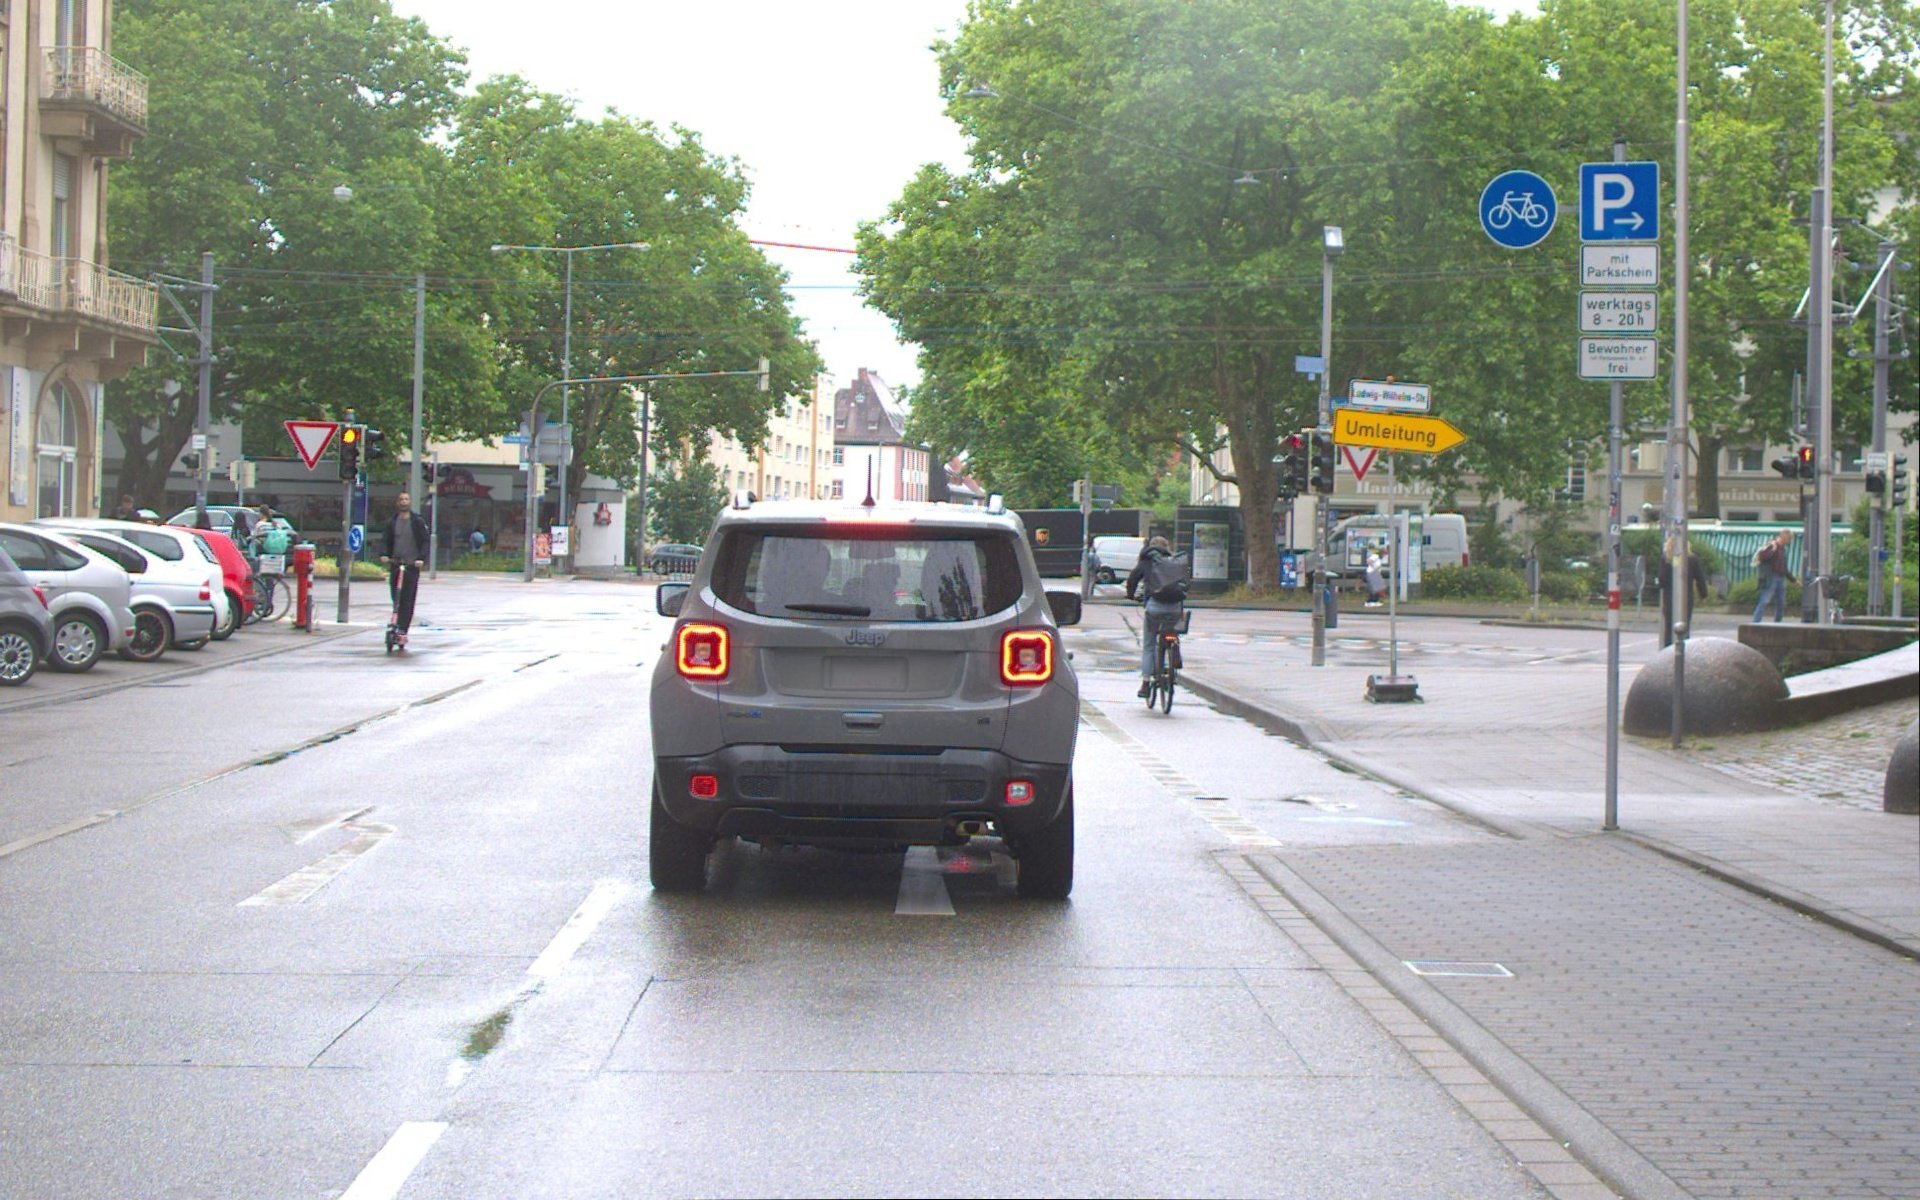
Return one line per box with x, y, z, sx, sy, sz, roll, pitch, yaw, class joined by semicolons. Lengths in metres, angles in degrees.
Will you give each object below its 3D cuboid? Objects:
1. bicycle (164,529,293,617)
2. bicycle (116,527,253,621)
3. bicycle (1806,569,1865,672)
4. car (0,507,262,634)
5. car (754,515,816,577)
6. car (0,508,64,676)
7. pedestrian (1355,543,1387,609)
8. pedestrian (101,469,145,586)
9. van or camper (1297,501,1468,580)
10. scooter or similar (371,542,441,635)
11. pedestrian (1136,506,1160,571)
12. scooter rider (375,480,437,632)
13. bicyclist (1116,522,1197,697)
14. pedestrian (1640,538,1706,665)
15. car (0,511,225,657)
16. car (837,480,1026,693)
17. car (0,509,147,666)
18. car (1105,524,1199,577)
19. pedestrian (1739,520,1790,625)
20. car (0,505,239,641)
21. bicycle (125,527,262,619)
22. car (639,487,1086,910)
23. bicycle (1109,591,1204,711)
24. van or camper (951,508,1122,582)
-10.783;-0.398;50.698;1.763;1.262;0.608;1;1;-1;bicycle
-10.727;-0.361;47.559;1.763;1.262;0.522;1;1;-1;bicycle
10.173;0.224;39.995;0.329;1.150;2.075;1;1;5;bicycle
-10.850;-0.373;43.802;3.393;1.552;1.705;0;1;-39;car
-5.110;-1.593;100.040;1.721;1.733;3.730;1;1;-4;car
-10.245;-0.106;31.792;3.393;1.552;1.652;0;1;-39;car
10.133;-0.596;84.771;0.613;1.598;0.493;2;1;25;pedestrian
-14.583;-1.266;59.932;0.567;2.007;0.655;1;1;0;pedestrian
13.483;-1.911;109.983;5.260;2.307;2.089;2;2;4;van or camper
-7.097;-0.153;44.089;0.700;1.161;1.385;1;1;-2;scooter or similar
5.921;-1.930;108.141;0.651;2.007;0.482;2;1;13;pedestrian
-7.091;-0.571;44.025;0.710;1.928;0.504;1;1;-2;scooter rider
1.837;0.077;32.212;0.687;1.612;0.884;0;1;-1;bicyclist
9.348;0.012;45.116;0.783;1.640;0.655;1;1;8;pedestrian
-10.087;-0.191;38.057;3.393;1.552;1.705;0;1;-39;car
-0.276;-0.174;34.974;1.770;2.007;4.000;1;1;0;car
-10.196;-0.150;34.804;3.393;1.552;1.705;0;1;-39;car
7.518;-1.938;134.753;3.438;2.007;1.547;1;0;14;car
13.640;-0.476;58.287;0.786;1.753;0.945;1;1;15;pedestrian
-10.524;-0.329;40.848;3.393;1.552;1.705;0;1;-39;car
-10.873;-0.389;48.791;1.810;1.262;0.498;1;1;-1;bicycle
-0.414;0.353;15.675;1.775;1.681;3.848;0;1;-1;car
1.829;0.456;32.252;0.691;1.018;2.658;0;1;-1;bicycle
3.119;-2.265;141.027;6.536;2.902;2.491;2;1;27;van or camper
